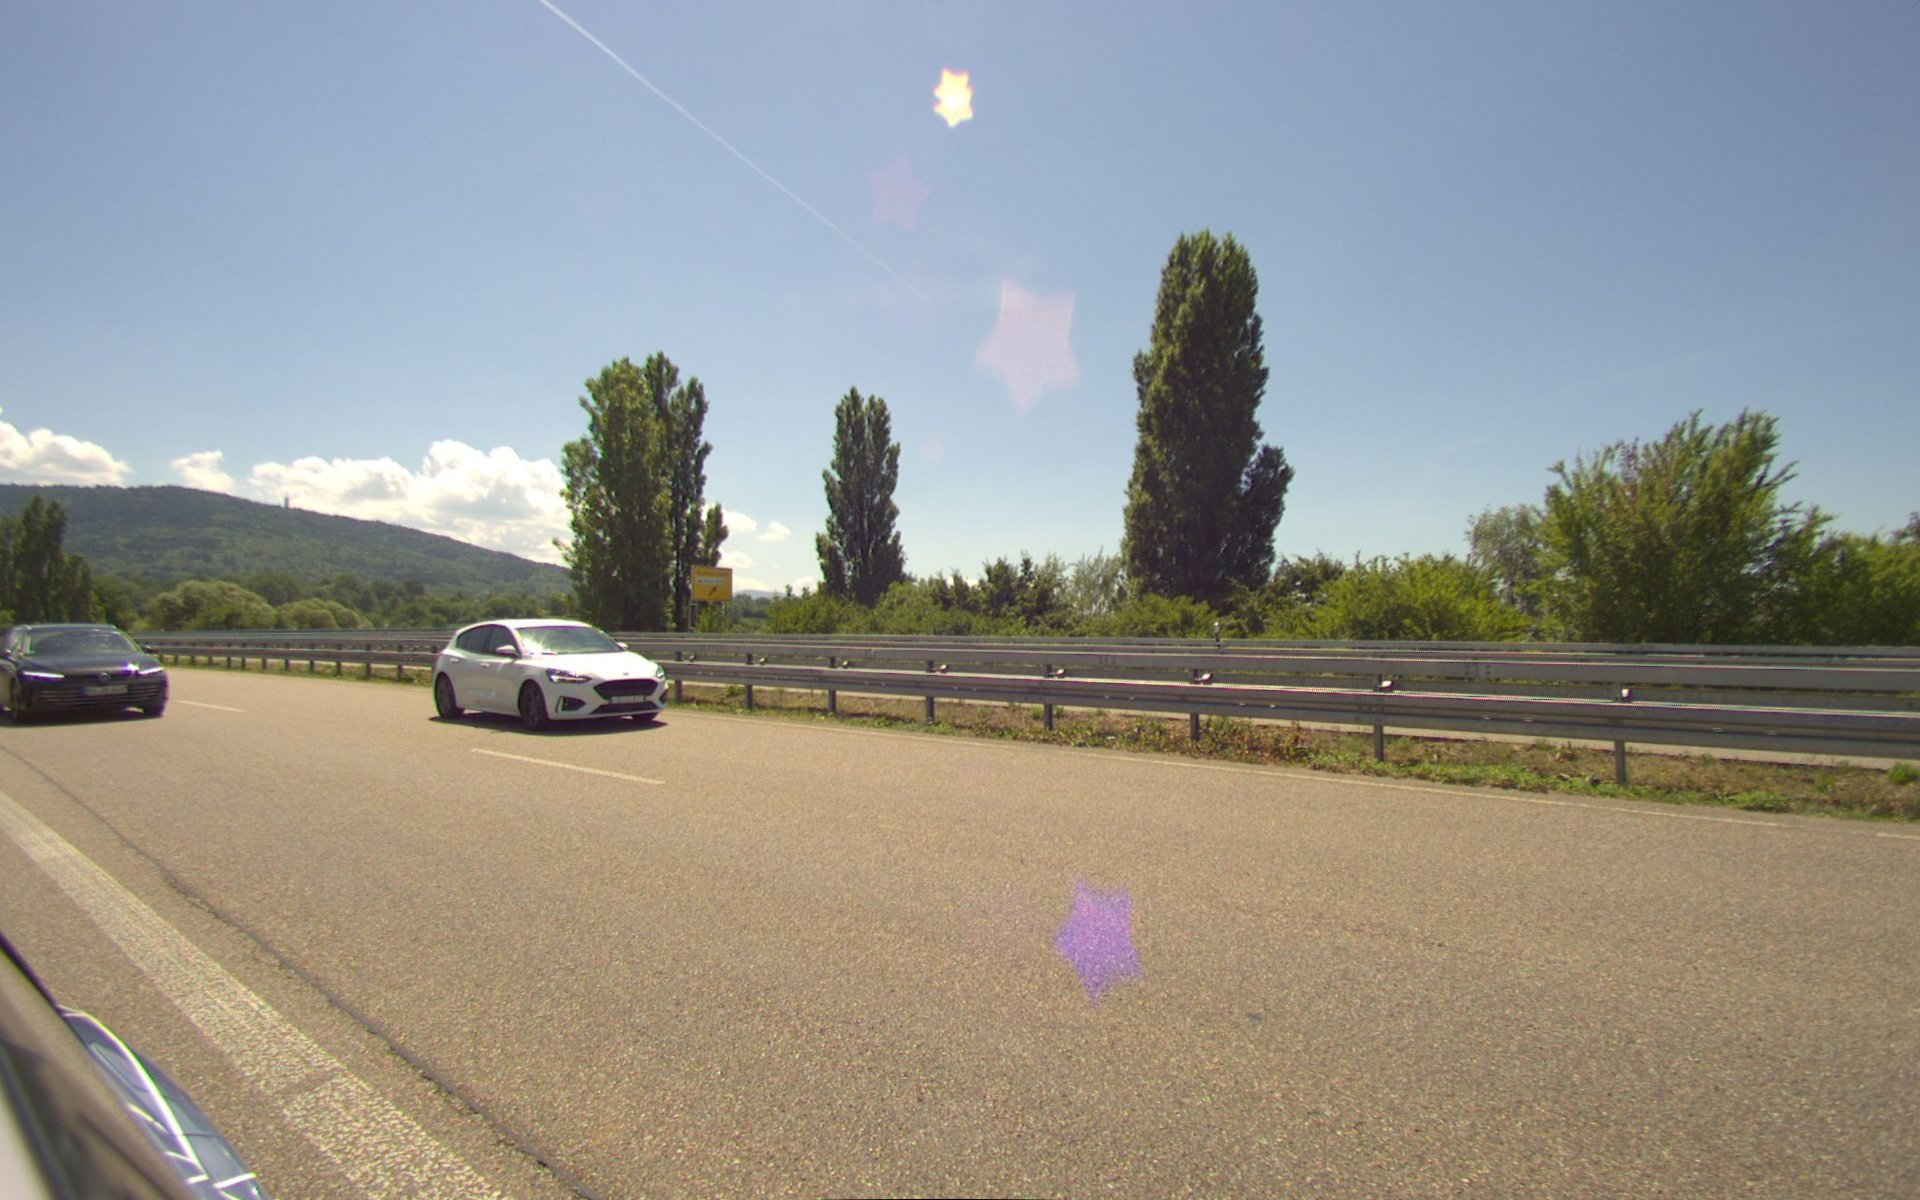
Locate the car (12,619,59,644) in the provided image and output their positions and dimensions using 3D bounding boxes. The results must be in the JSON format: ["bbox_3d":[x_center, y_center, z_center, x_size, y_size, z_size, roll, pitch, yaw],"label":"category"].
[{"bbox_3d":[-63.873,2.146,69.916,4.185,1.660,1.807,-1,-2,39],"label":"car"}]

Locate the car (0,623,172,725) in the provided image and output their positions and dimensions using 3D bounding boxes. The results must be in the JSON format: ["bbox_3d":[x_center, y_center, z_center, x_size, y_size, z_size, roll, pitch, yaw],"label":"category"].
[{"bbox_3d":[-14.455,1.099,16.371,4.466,1.418,1.822,-1,-1,40],"label":"car"}]

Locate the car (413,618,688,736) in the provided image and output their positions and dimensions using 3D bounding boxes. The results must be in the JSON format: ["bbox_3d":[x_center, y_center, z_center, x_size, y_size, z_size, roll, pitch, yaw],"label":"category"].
[{"bbox_3d":[-5.951,0.980,14.458,4.467,1.418,1.822,-1,-1,41],"label":"car"}]
